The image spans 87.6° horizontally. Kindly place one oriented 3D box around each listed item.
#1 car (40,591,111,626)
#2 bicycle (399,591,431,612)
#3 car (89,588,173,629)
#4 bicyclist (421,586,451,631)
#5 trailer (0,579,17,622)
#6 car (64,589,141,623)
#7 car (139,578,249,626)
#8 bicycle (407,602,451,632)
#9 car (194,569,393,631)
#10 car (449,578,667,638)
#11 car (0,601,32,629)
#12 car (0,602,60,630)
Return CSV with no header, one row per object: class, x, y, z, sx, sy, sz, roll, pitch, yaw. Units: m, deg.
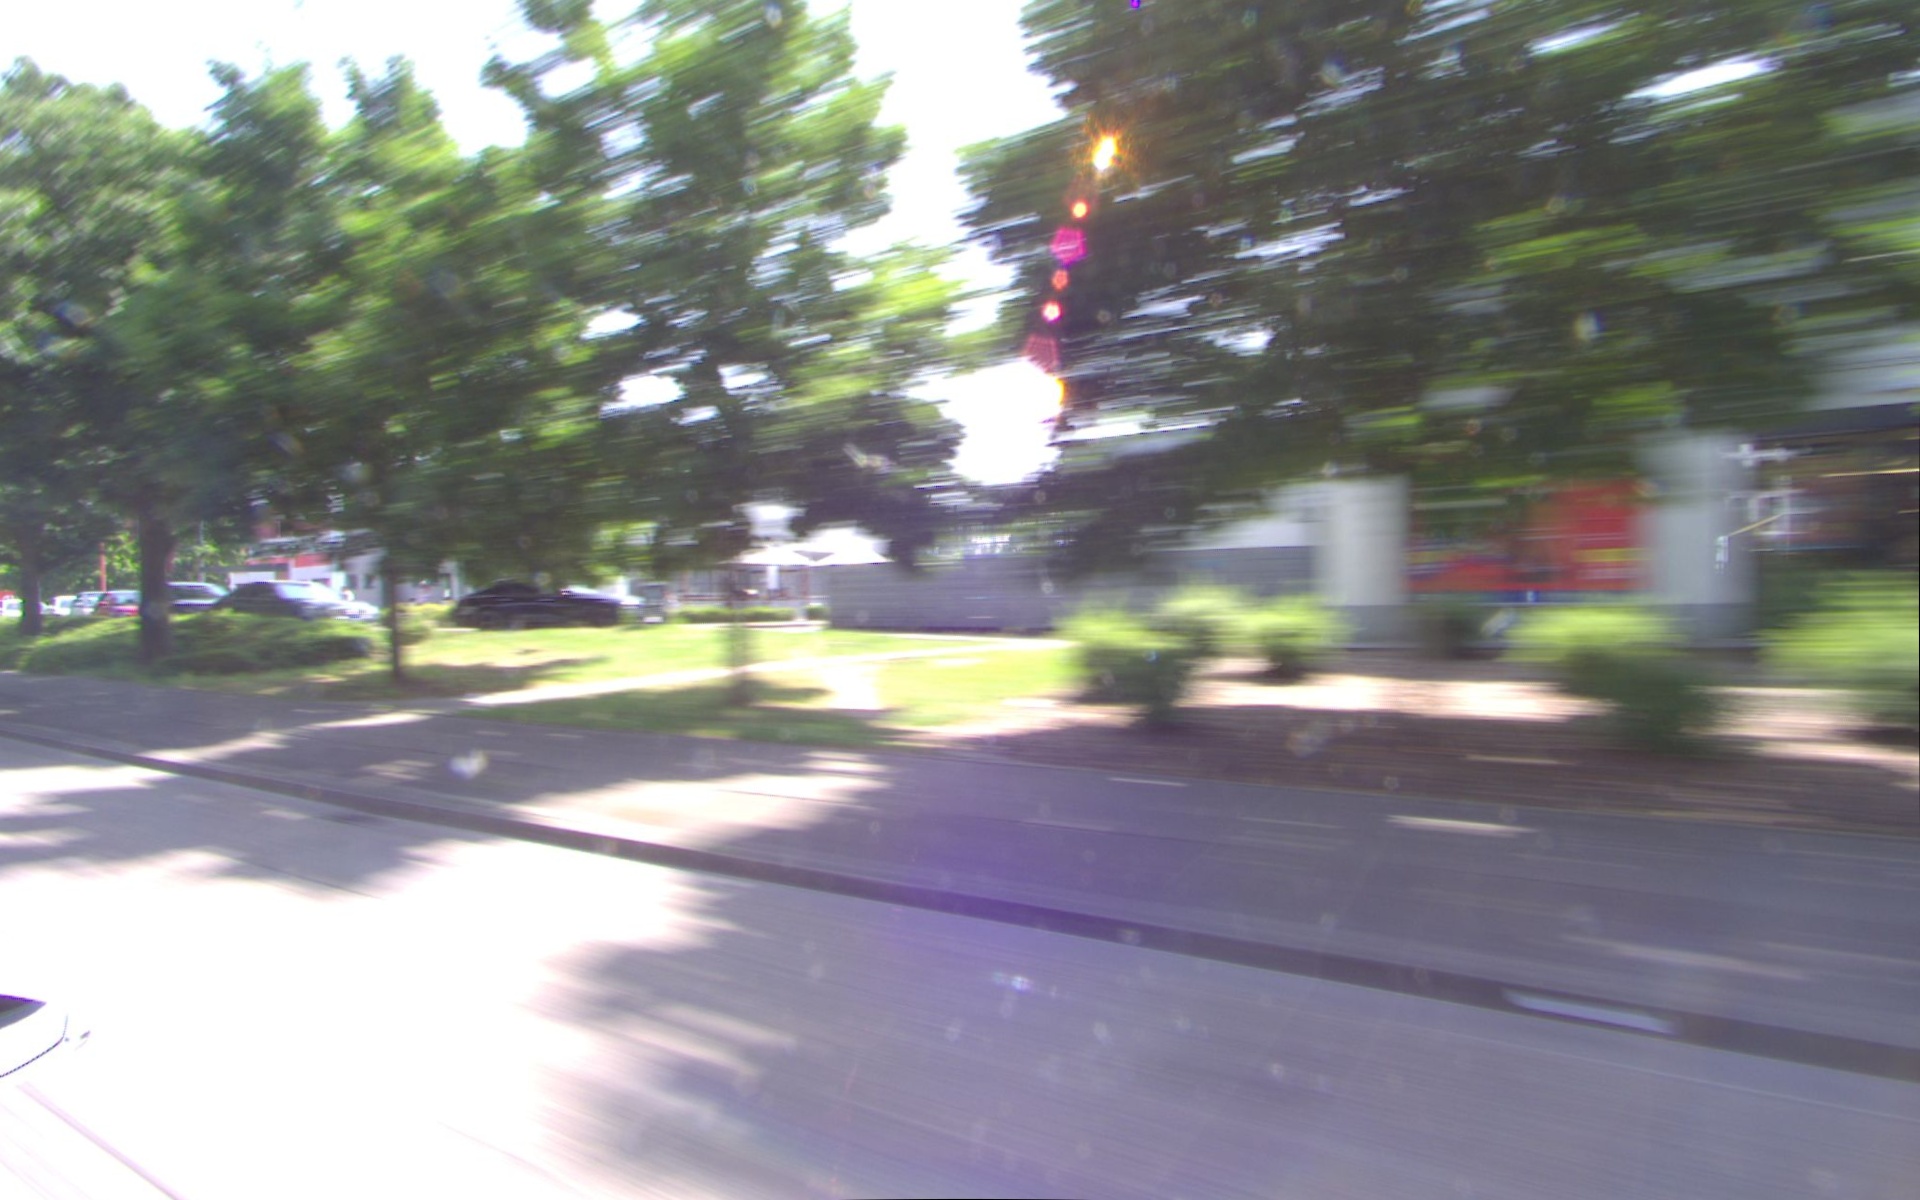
car,-34.900,0.373,39.488,3.822,1.269,1.611,-2,-2,41
bicycle,-26.207,0.075,48.147,2.076,0.993,0.586,-1,1,39
car,-27.723,0.307,33.457,3.721,1.269,1.611,-2,-2,41
bicyclist,-21.815,0.361,41.671,0.852,1.828,0.776,0,1,35
trailer,-49.319,0.047,50.700,5.418,2.082,1.693,-1,0,40
car,-30.907,0.227,36.063,2.819,1.137,1.503,-2,-1,36
car,-23.087,0.108,30.135,4.147,1.268,1.613,-2,-3,38
bicycle,-22.114,0.700,41.712,2.213,1.242,0.688,-1,1,36
car,-17.726,0.055,26.564,5.512,1.470,1.905,-1,-1,26
car,-9.905,0.191,24.924,4.623,1.370,1.953,-1,0,0
car,-45.361,0.712,47.278,3.583,1.269,1.614,-2,-1,36
car,-40.917,0.712,43.834,3.691,1.173,1.588,-2,-2,37
